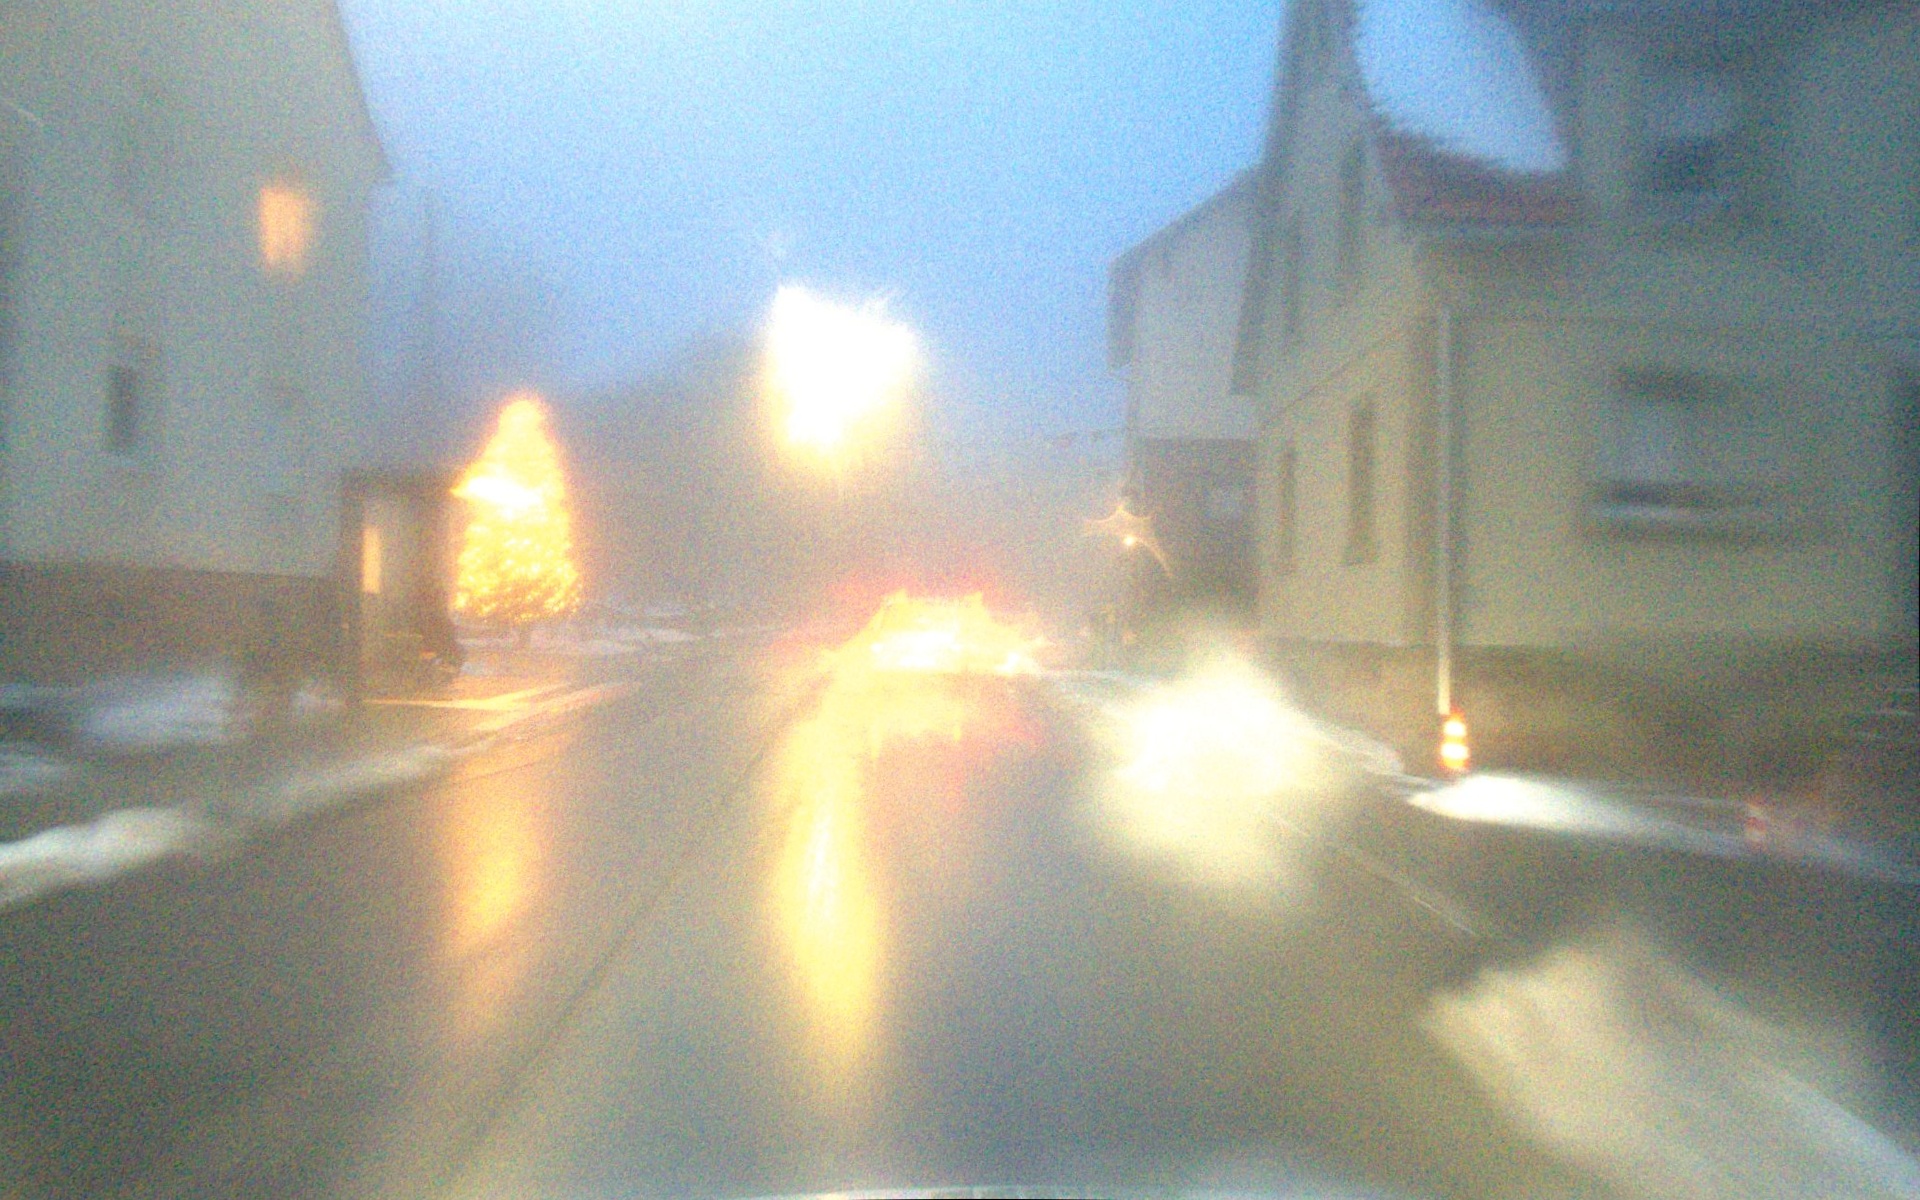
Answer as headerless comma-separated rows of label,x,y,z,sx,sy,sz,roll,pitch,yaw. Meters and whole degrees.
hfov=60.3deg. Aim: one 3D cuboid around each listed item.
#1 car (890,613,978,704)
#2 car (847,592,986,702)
car,-0.599,1.486,41.424,1.953,2.049,3.999,4,-3,1
car,-0.624,0.809,27.089,1.952,1.534,4.000,4,-3,2
